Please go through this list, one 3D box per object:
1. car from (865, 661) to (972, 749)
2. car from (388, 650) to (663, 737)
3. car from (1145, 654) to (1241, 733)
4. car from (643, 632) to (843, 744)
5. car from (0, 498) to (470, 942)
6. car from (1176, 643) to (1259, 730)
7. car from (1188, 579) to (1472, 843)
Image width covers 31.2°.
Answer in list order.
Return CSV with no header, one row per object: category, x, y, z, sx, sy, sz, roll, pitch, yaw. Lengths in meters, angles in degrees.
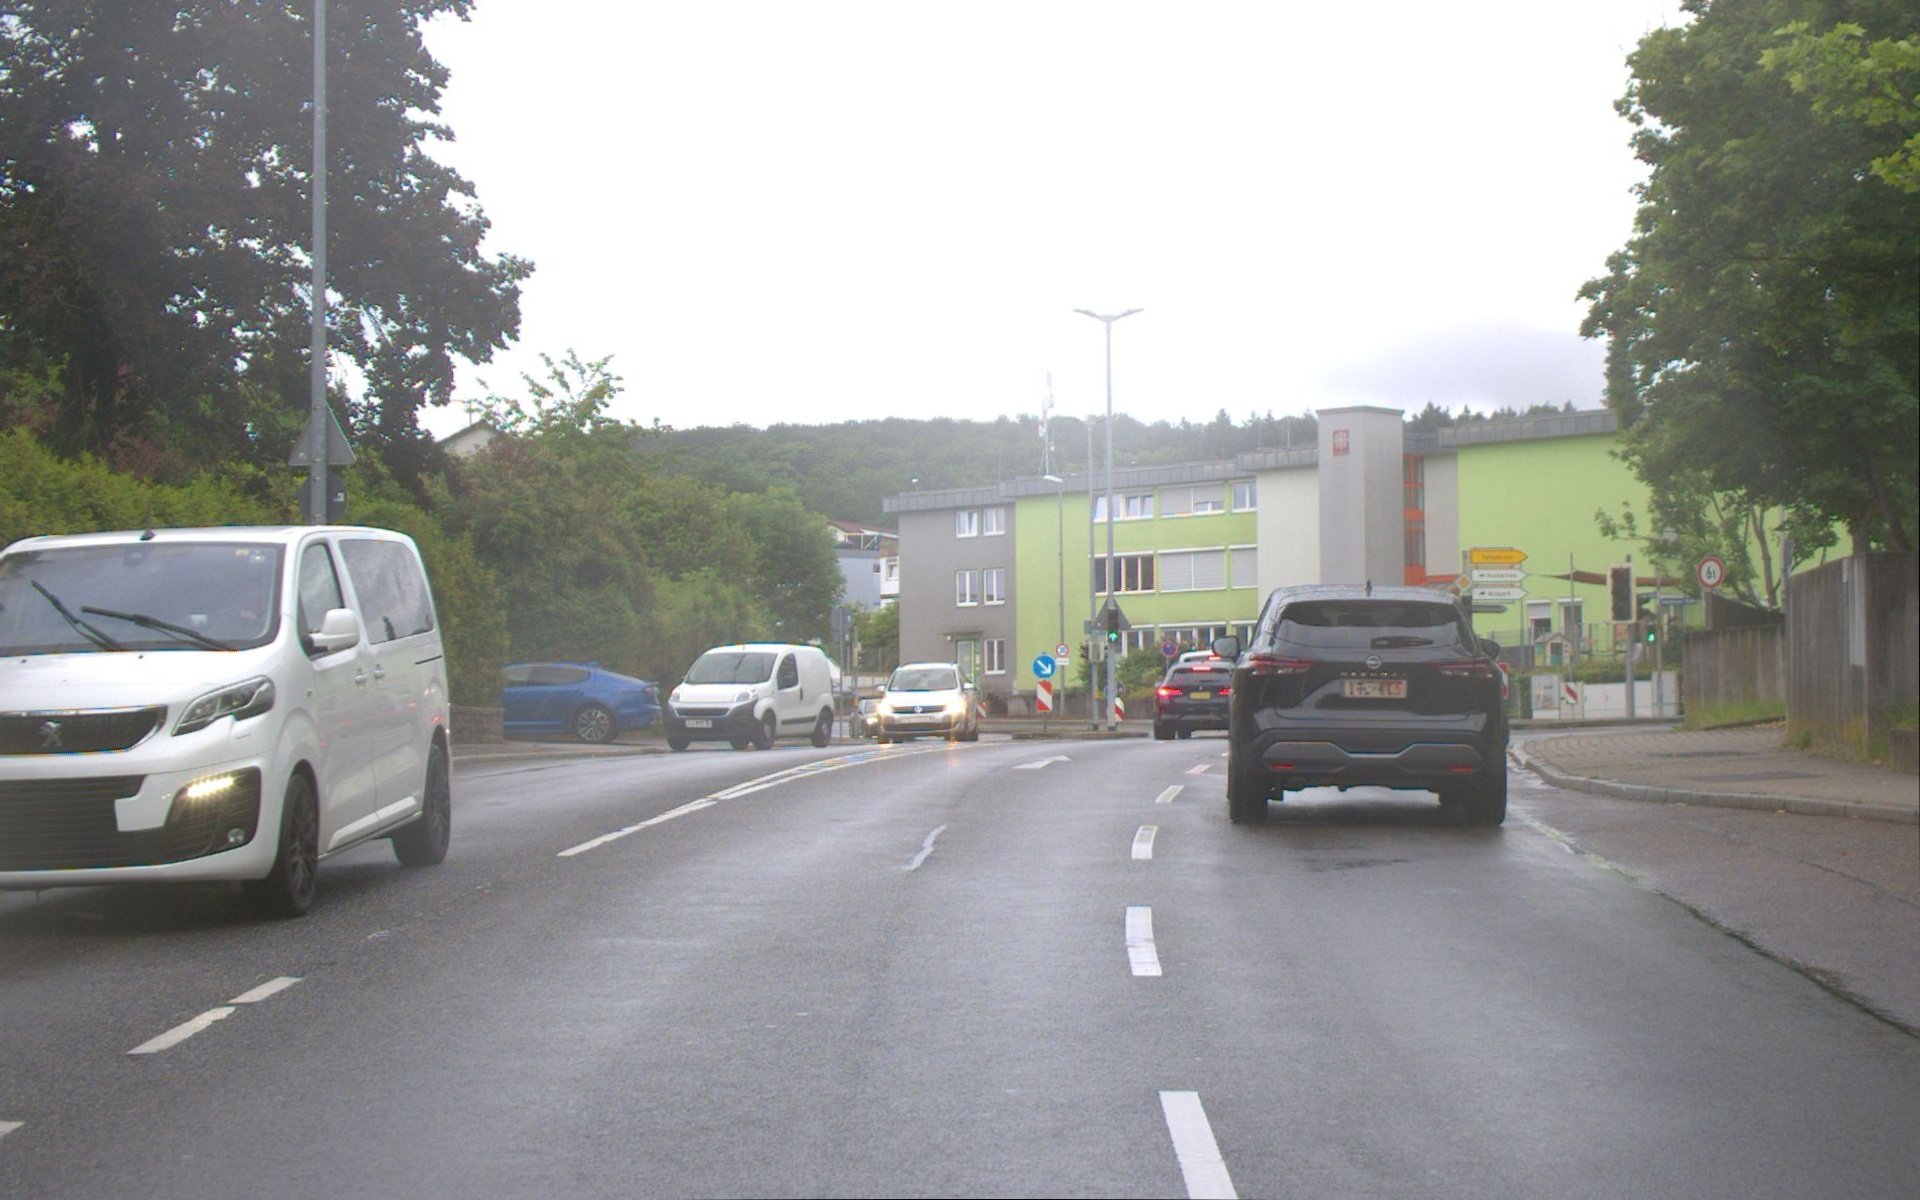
car,-0.785,2.050,67.455,1.635,1.574,4.056,-4,-2,4
car,-7.447,1.604,59.243,4.482,1.357,1.805,1,0,0
car,4.559,1.847,67.642,1.682,1.501,3.773,1,-2,1
car,-3.494,1.449,56.119,1.702,1.702,3.974,2,-1,21
car,-3.925,0.523,17.674,1.863,1.910,5.029,-2,0,2
car,5.722,1.888,75.980,1.717,1.838,4.085,1,0,6
car,2.600,0.695,24.085,1.790,1.598,4.252,1,1,6
